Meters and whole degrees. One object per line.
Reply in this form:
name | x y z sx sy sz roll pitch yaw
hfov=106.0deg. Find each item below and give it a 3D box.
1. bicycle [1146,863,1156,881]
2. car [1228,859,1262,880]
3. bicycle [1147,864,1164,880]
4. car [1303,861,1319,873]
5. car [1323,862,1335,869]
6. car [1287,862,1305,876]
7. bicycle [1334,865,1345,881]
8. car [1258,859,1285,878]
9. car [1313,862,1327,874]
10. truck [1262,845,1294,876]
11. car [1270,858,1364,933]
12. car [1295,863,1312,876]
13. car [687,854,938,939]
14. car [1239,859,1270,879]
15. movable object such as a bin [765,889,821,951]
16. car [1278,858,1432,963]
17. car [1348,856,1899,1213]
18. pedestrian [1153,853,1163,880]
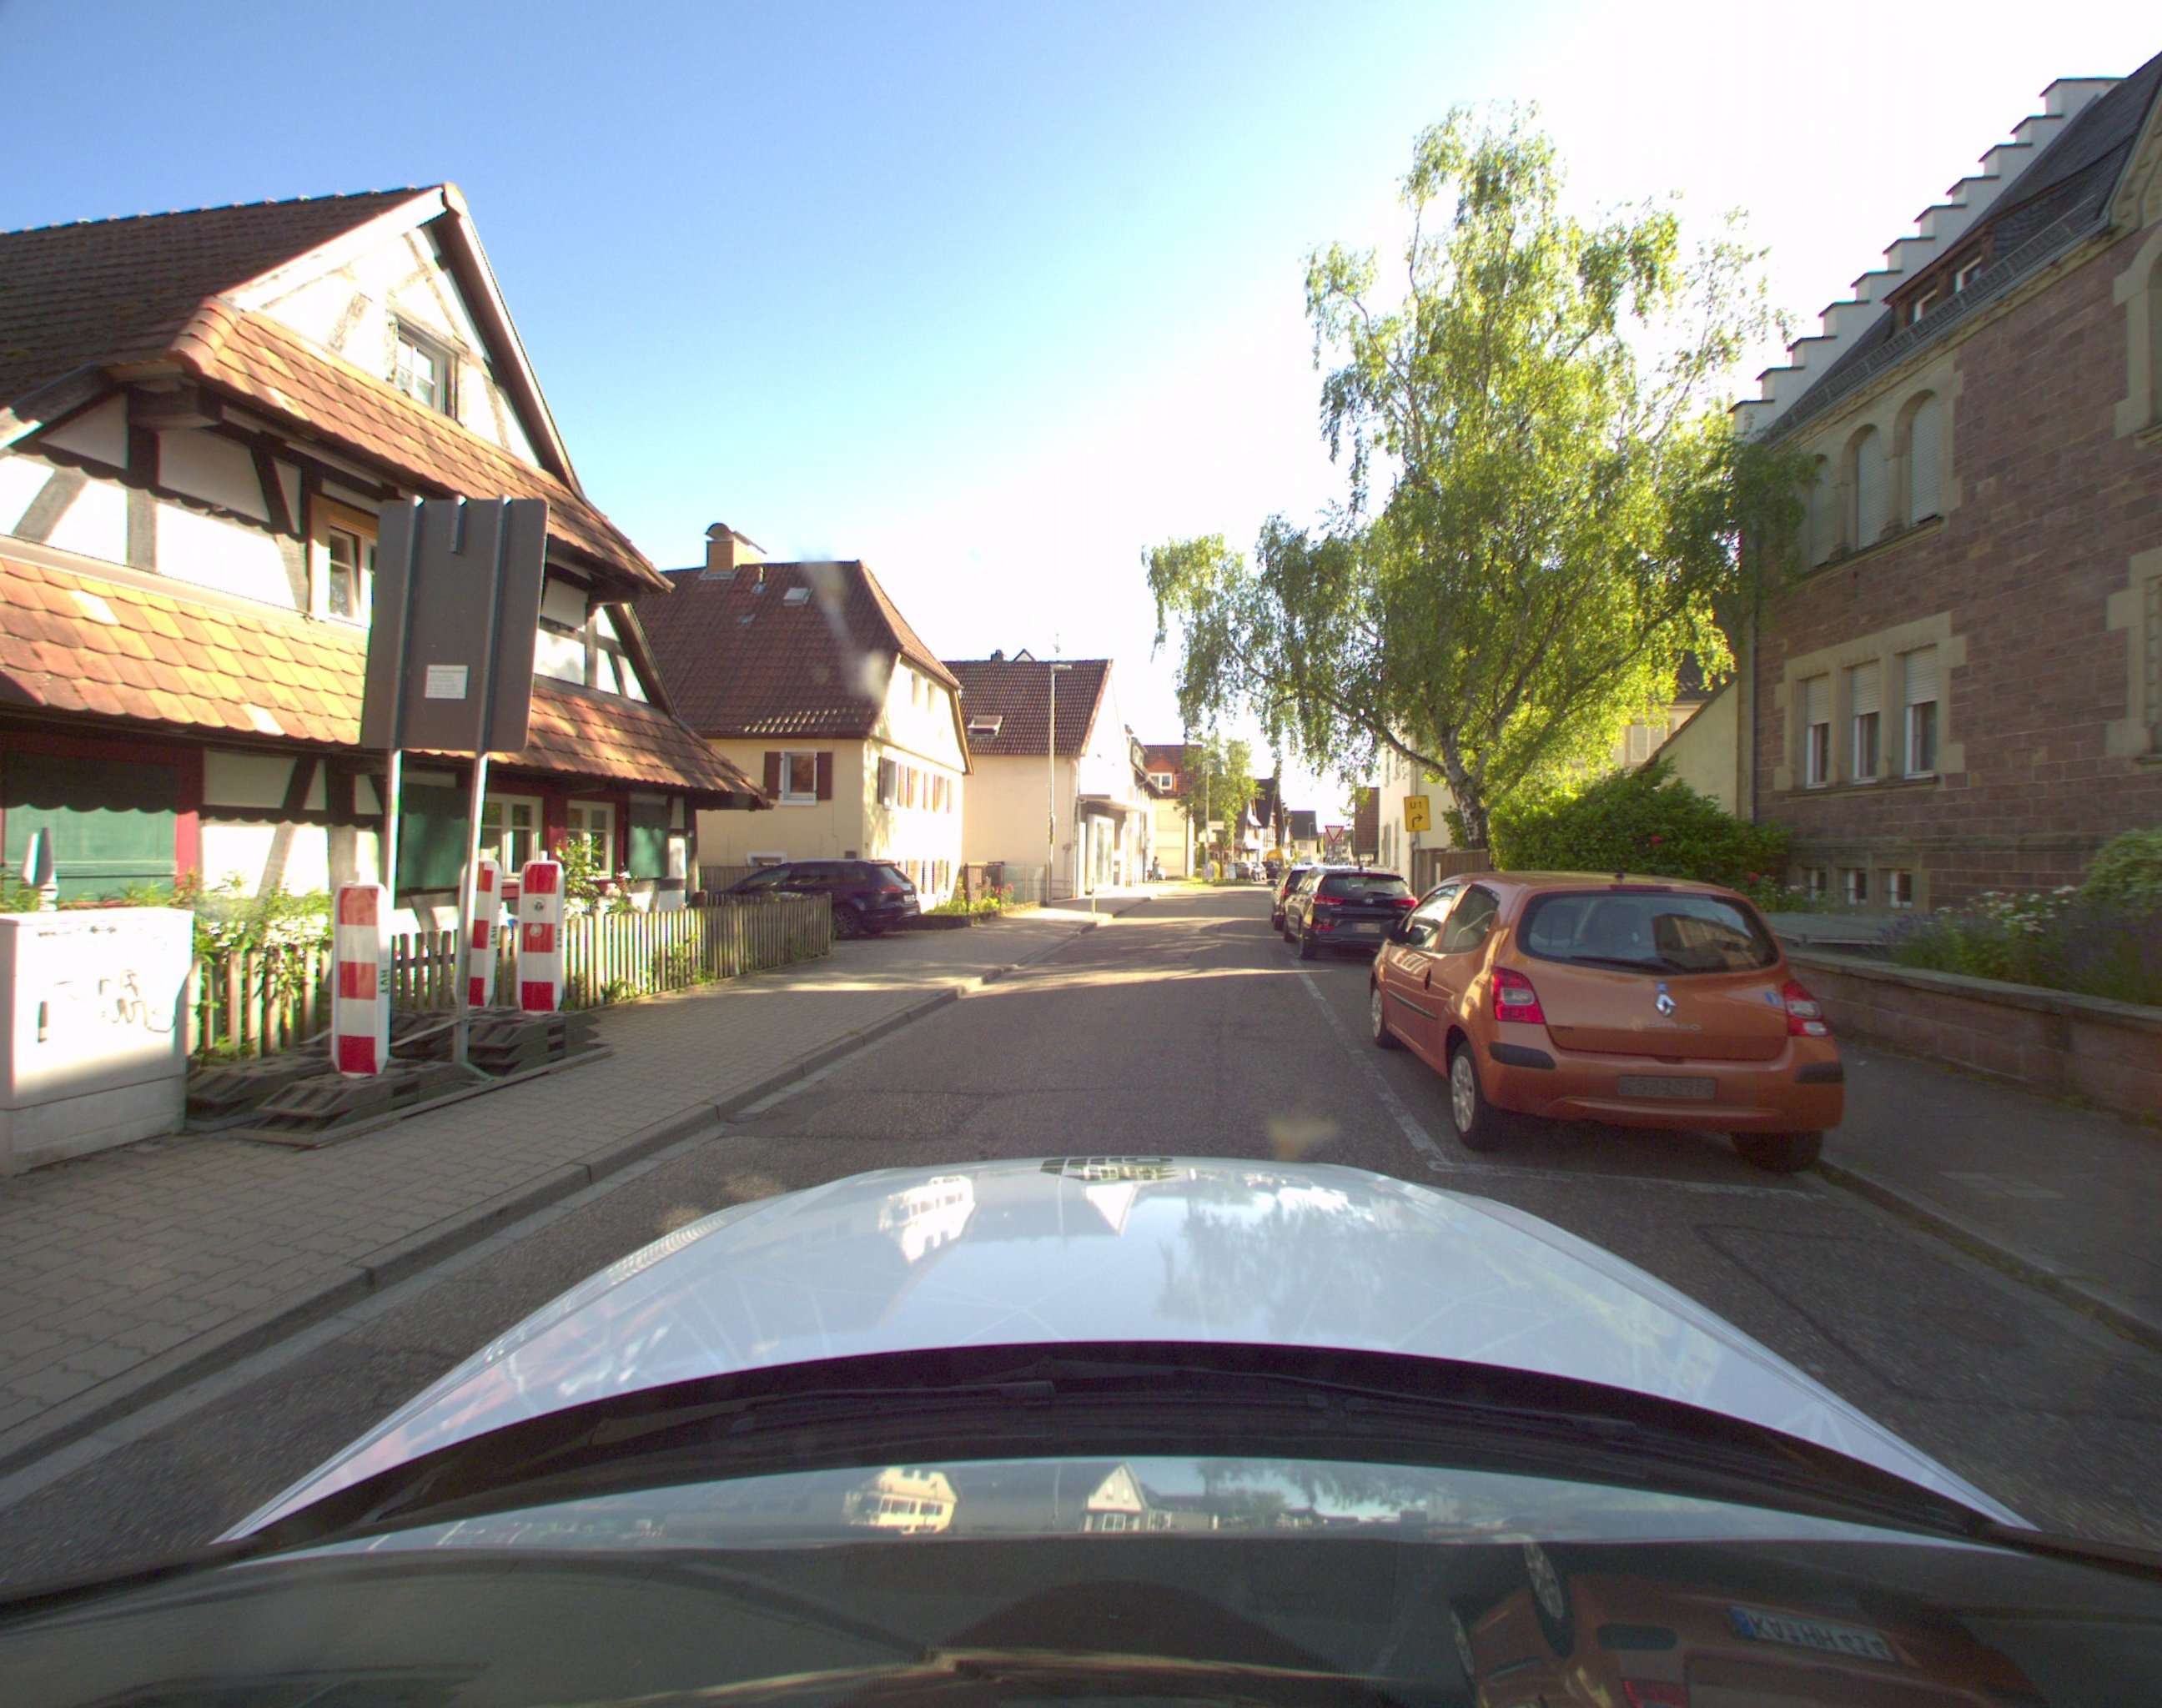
bicycle | 4.352 1.132 50.823 0.420 1.052 1.386 1 -2 13
car | 12.389 1.171 61.349 1.851 1.506 4.128 1 -1 21
bicycle | 4.966 1.194 54.196 0.573 1.052 2.046 0 -2 20
car | 28.156 1.614 99.677 1.575 1.443 3.631 1 0 19
car | 57.334 2.642 188.198 1.962 1.583 4.003 1 0 7
car | 23.088 1.617 87.318 1.632 1.433 3.631 1 0 19
bicycle | 19.325 1.401 60.898 0.429 1.176 1.840 1 -1 29
car | 17.266 1.341 73.825 1.791 1.622 3.900 1 -1 21
car | 31.194 1.803 106.358 1.575 1.443 3.631 1 0 19
truck | 19.152 0.660 78.919 2.249 2.868 5.812 1 -1 21
car | 5.261 0.852 18.606 1.795 1.436 4.301 1 0 13
car | 25.069 1.707 91.555 1.575 1.336 3.631 1 0 19
car | -5.053 0.788 15.644 4.137 1.462 1.852 -1 0 6
car | 13.991 1.230 65.463 1.791 1.506 4.128 1 -1 21
movable object such as a bin | -4.438 1.009 12.563 0.578 0.898 0.559 -2 -1 31
car | 4.473 0.821 13.927 1.797 1.436 4.296 1 0 9
car | 3.011 0.783 5.571 1.638 1.479 3.944 1 0 9
pedestrian | 4.803 0.793 50.896 0.480 1.693 0.559 1 -2 16
